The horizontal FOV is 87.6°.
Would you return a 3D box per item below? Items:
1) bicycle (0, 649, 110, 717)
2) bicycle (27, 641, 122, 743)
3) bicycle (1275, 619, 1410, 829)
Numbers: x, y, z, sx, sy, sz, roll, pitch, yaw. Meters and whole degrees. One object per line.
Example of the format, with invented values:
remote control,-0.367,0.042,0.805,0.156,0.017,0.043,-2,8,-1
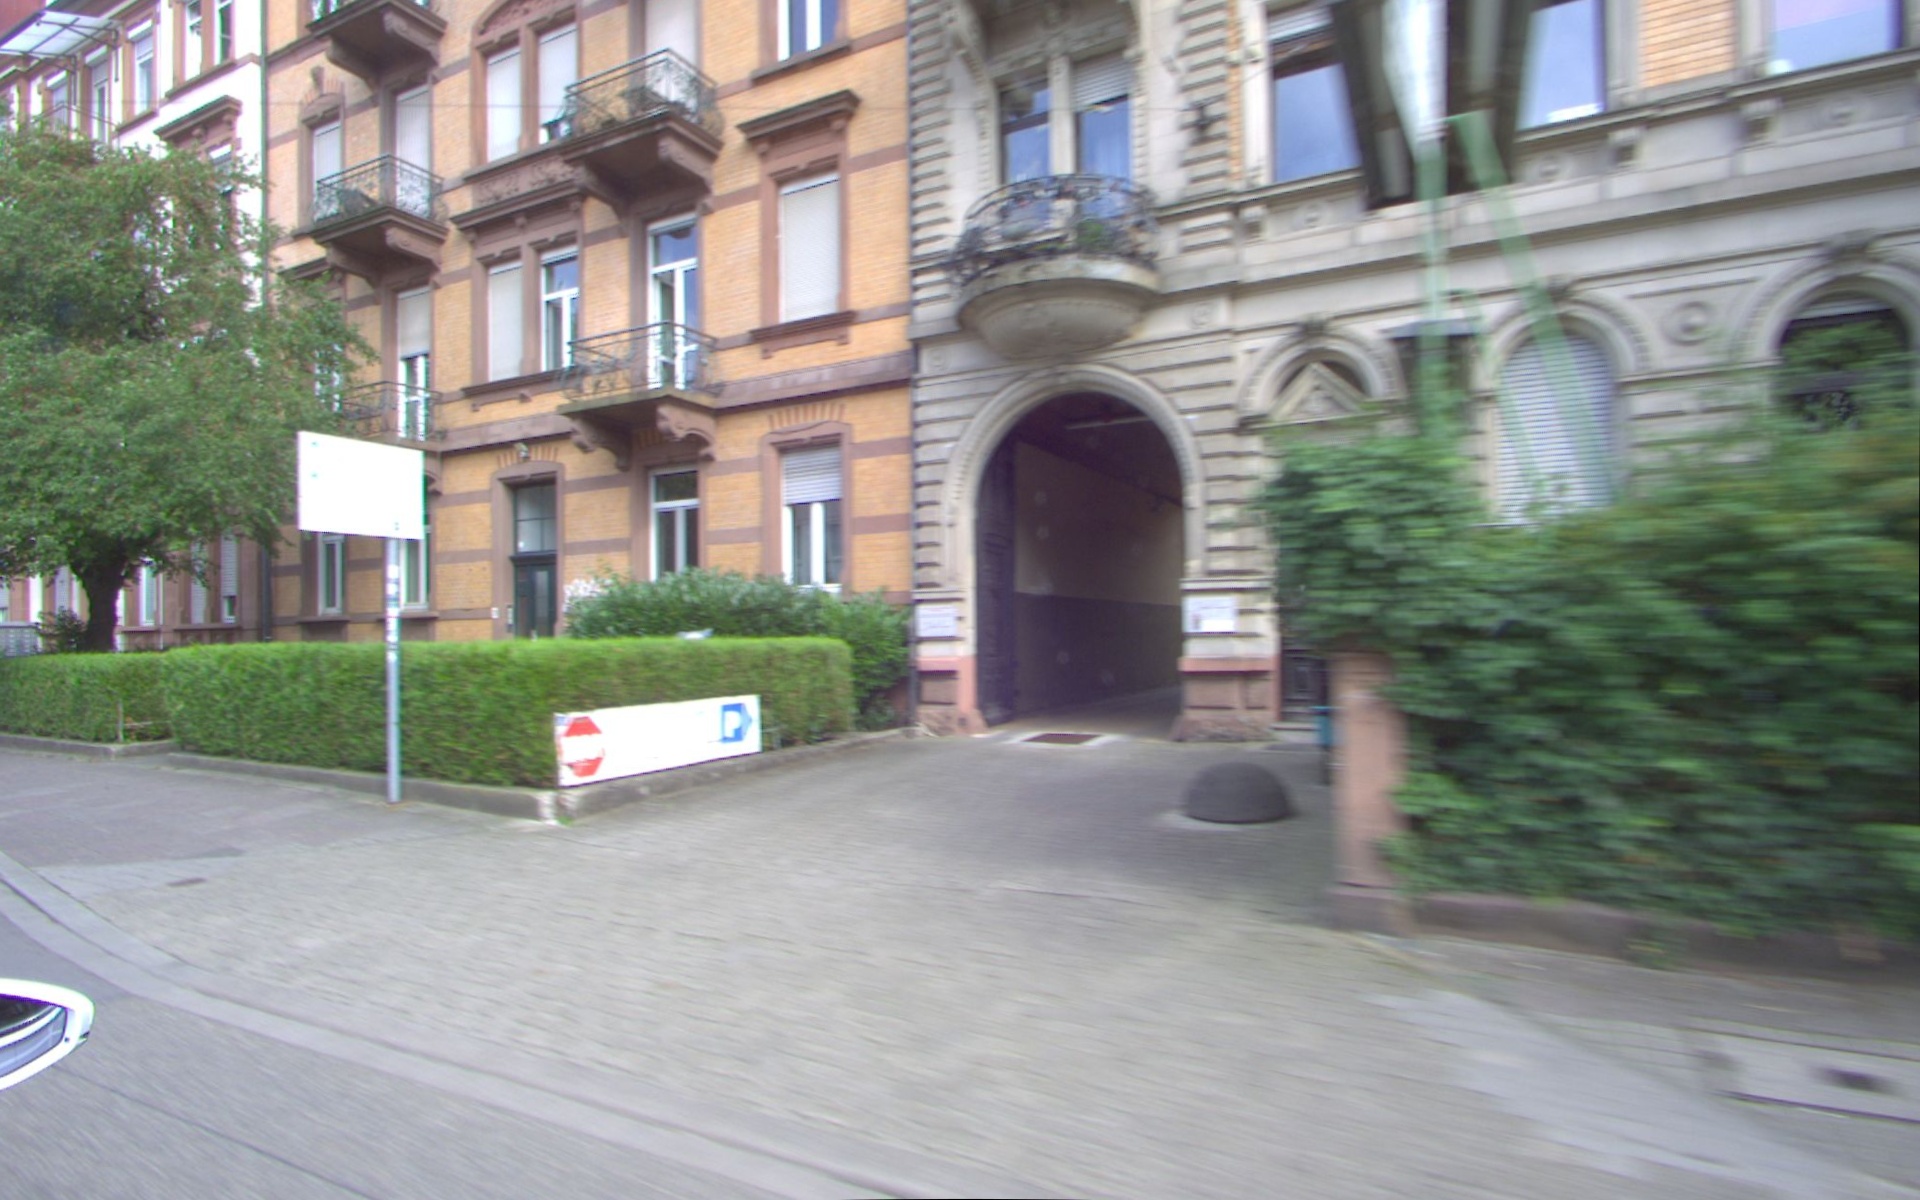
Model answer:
bicycle,-14.643,1.306,16.014,0.502,1.021,1.545,-1,-1,26
bicycle,-11.925,1.209,13.477,1.527,1.298,0.515,-1,-1,31
bicycle,3.013,0.825,7.709,0.758,1.329,2.624,-1,-2,25
